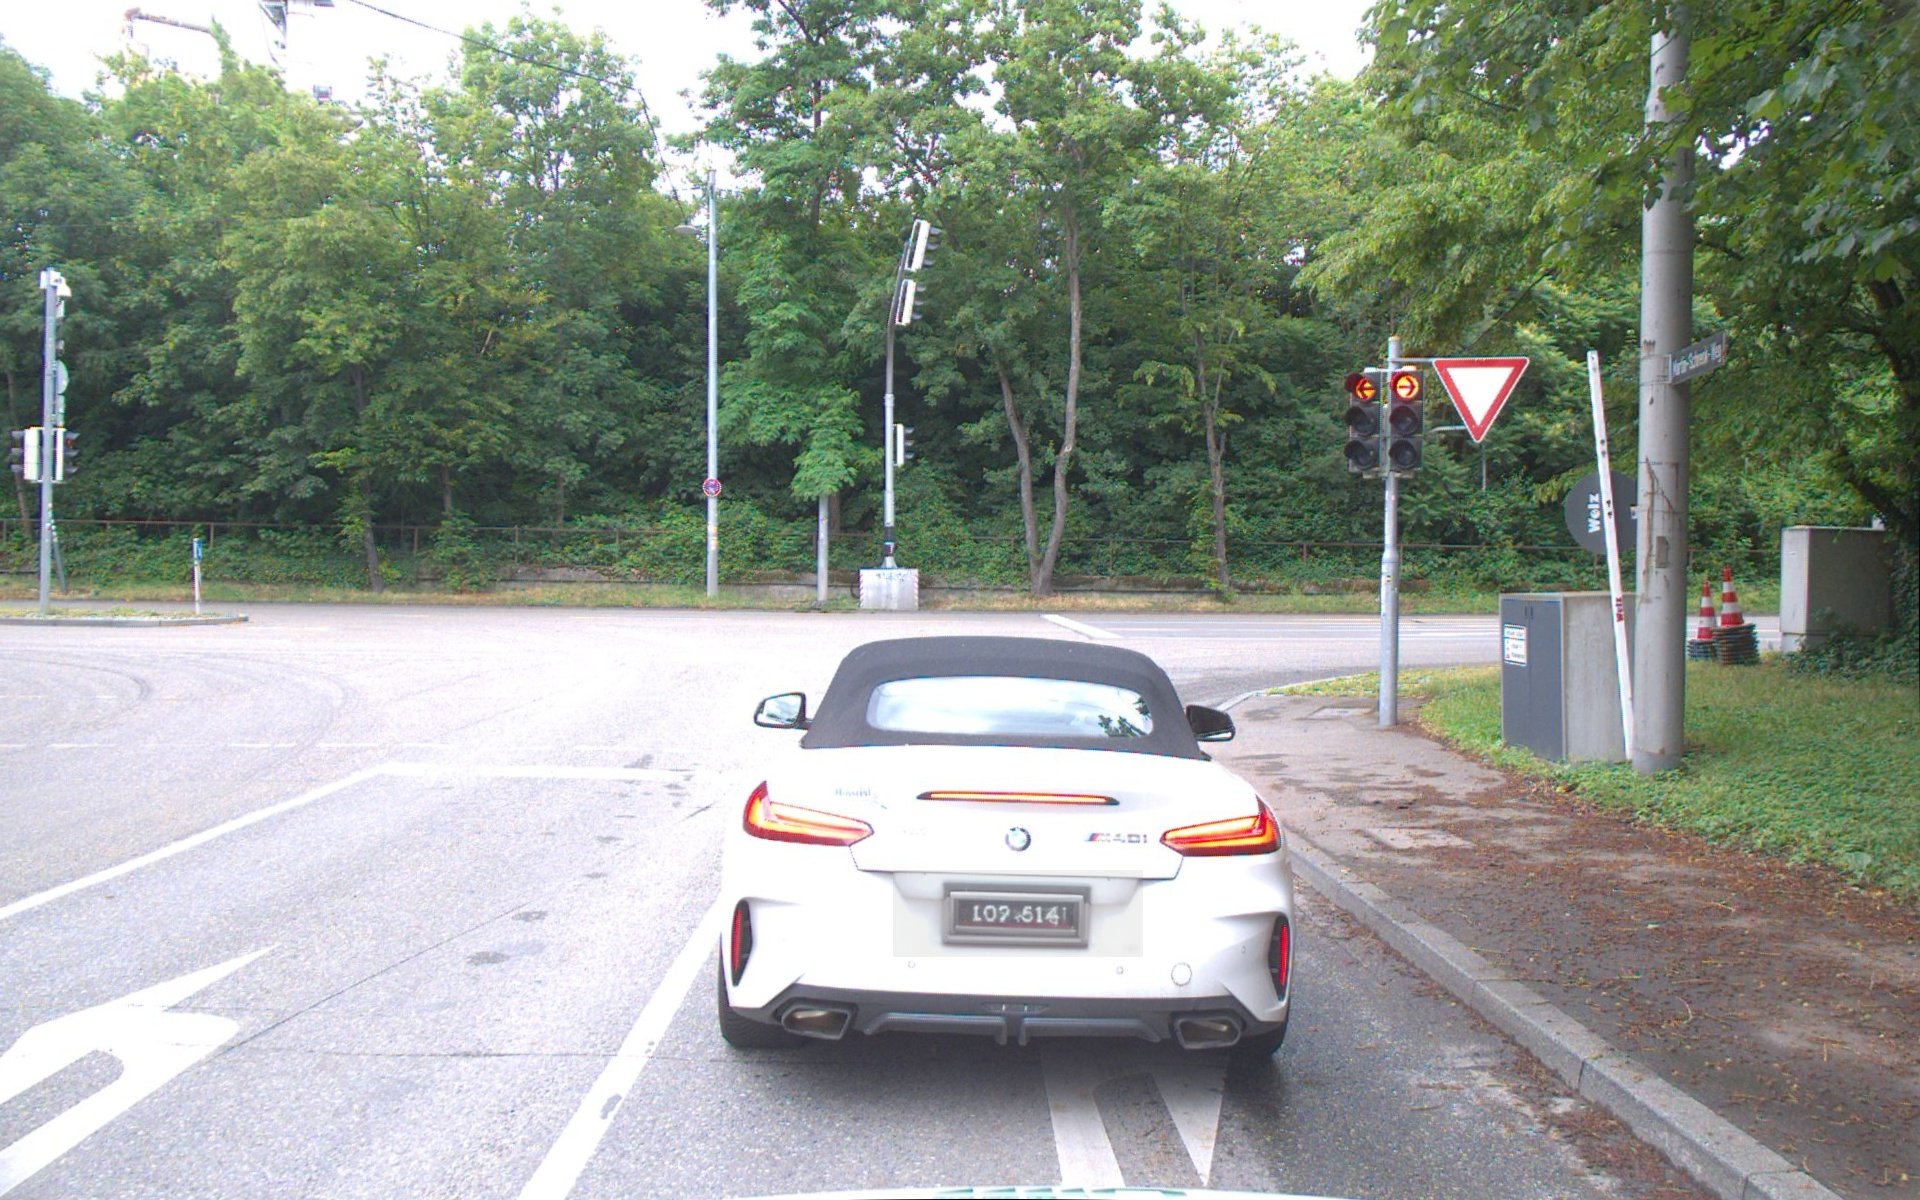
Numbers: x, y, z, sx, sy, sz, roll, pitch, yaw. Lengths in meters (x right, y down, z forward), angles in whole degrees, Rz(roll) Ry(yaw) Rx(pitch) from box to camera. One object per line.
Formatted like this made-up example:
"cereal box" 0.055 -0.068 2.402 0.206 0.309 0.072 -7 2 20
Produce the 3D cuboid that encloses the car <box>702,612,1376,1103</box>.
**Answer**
"car" 0.130 0.743 6.454 1.791 1.279 3.997 2 -1 -3
